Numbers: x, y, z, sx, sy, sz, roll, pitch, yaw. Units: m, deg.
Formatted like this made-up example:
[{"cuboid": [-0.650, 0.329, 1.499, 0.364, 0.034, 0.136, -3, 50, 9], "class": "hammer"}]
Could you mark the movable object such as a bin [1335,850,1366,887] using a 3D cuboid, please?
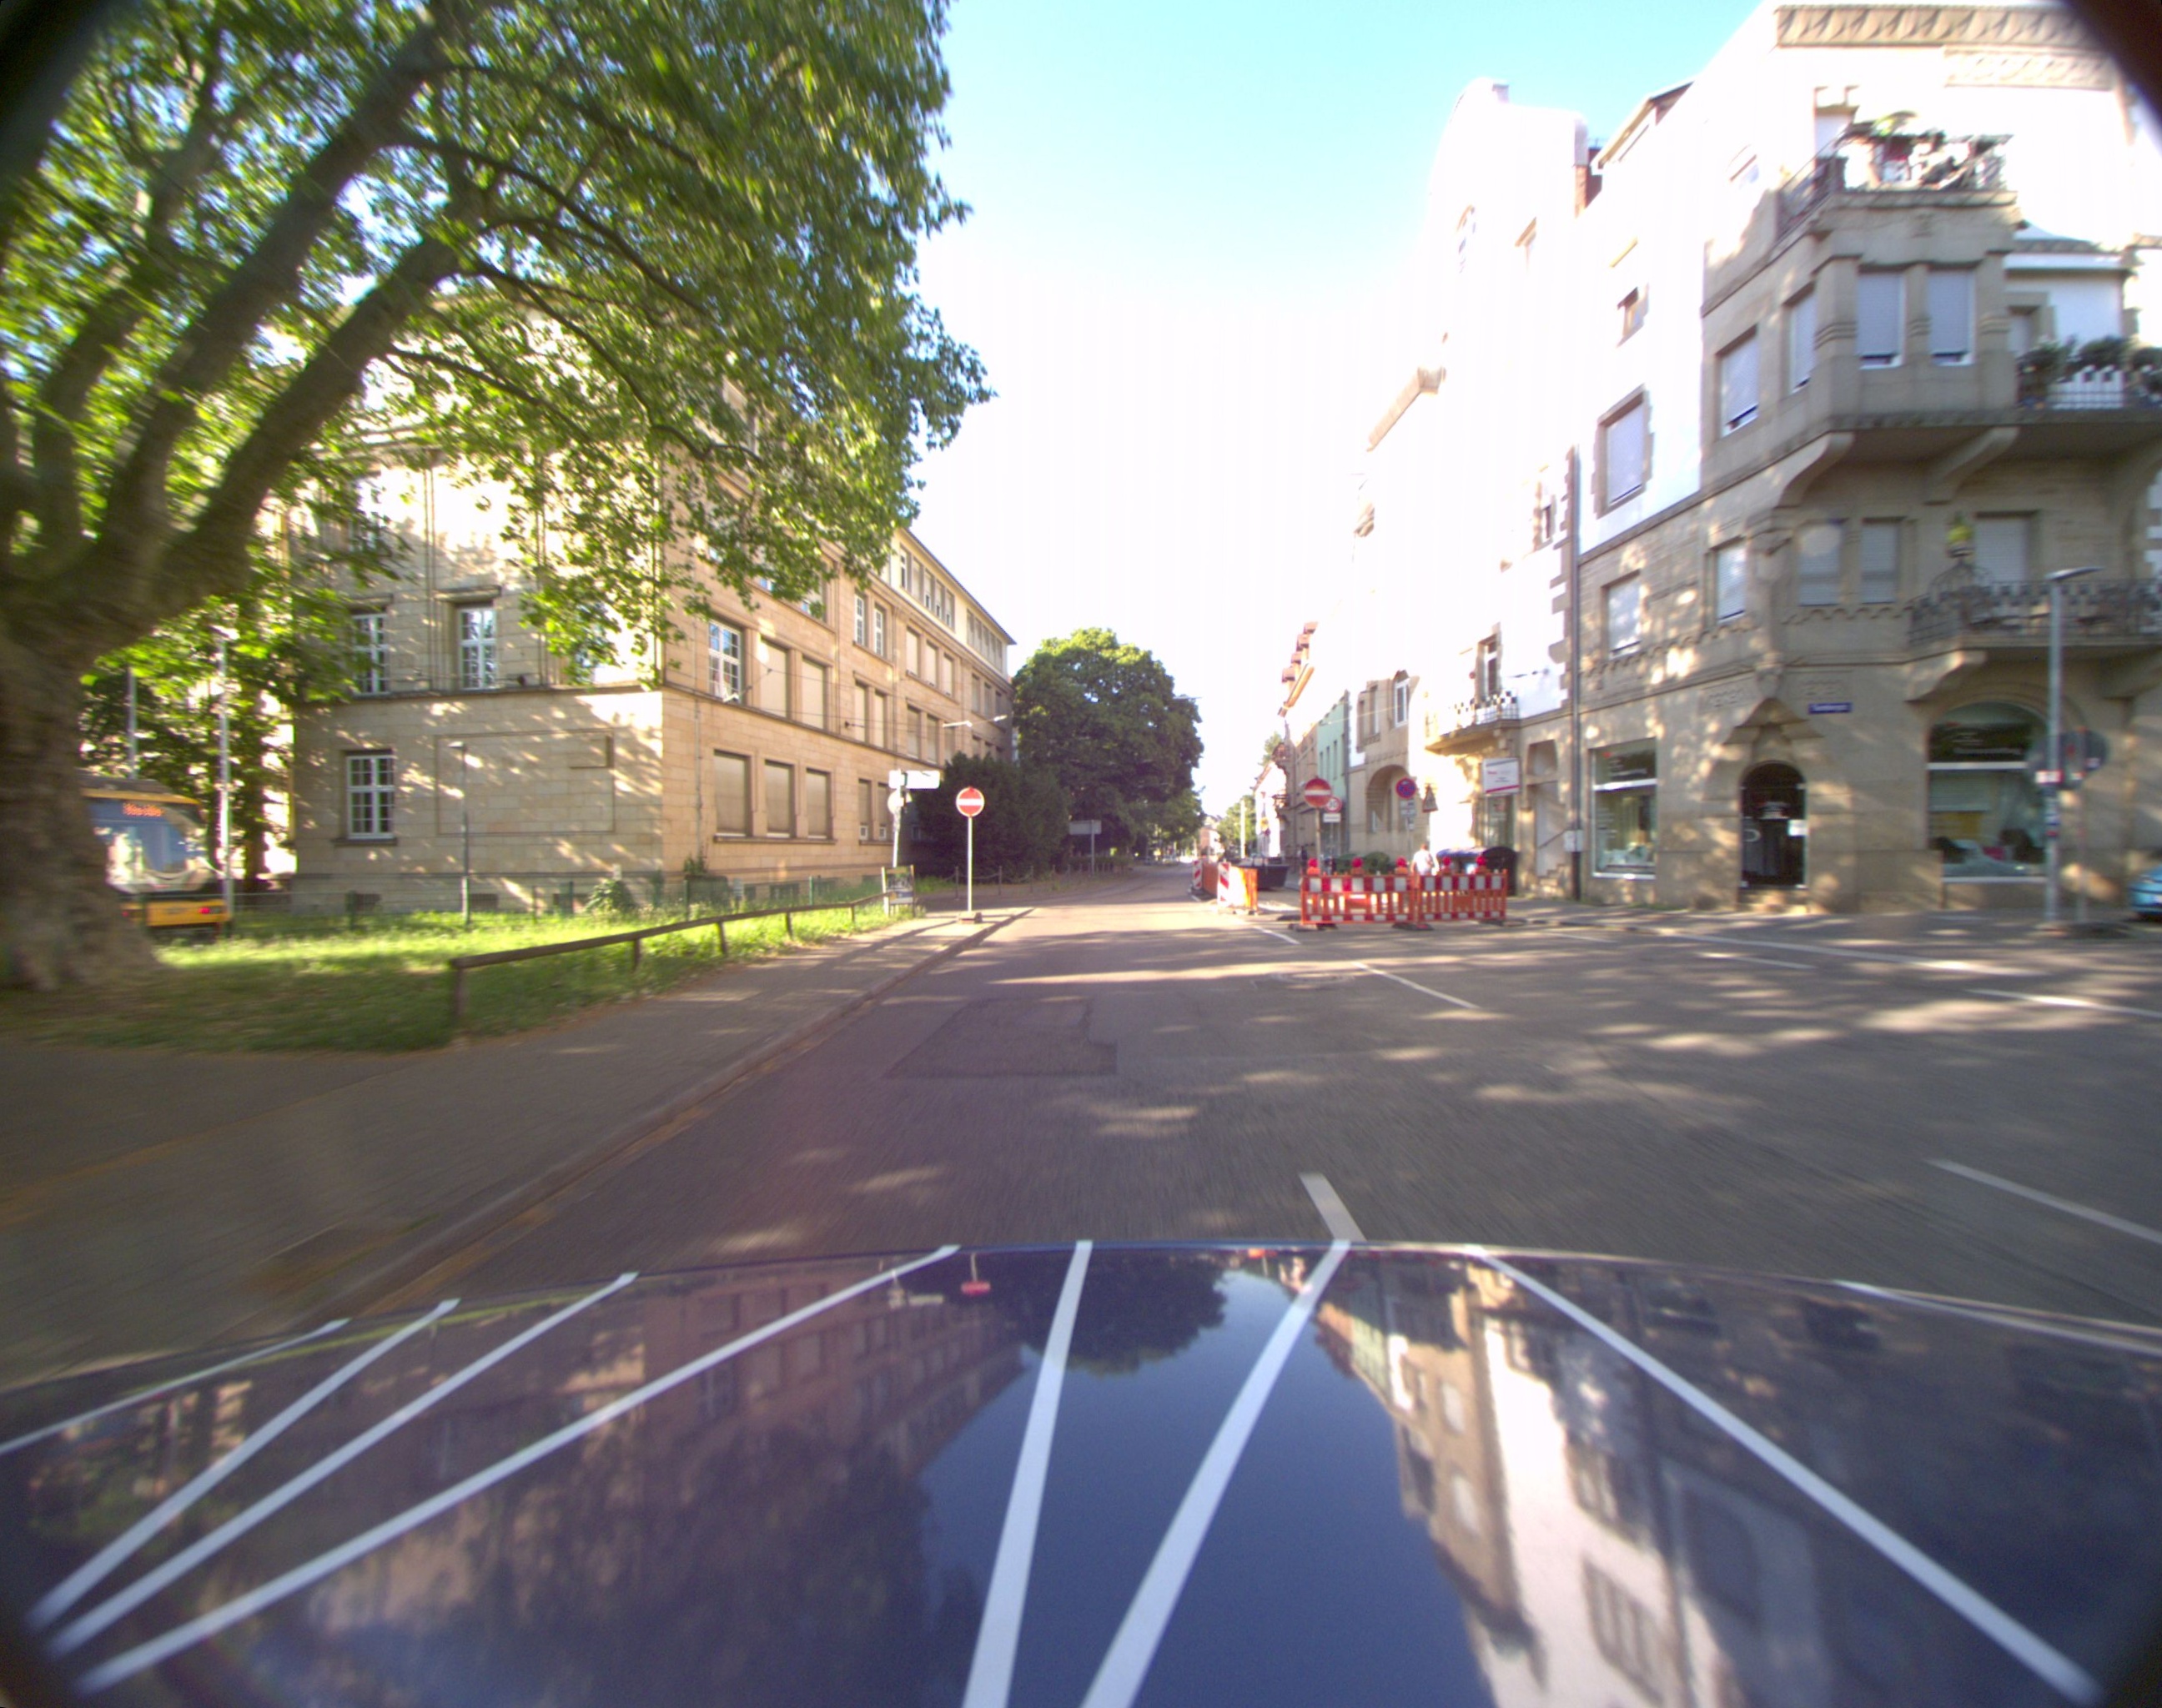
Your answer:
[{"cuboid": [10.902, 0.563, 30.796, 1.084, 1.423, 1.409, -2, 1, 16], "class": "movable object such as a bin"}]

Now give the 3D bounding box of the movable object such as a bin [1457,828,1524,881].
[{"cuboid": [11.675, 0.005, 21.693, 1.085, 1.423, 1.345, -3, 1, -5], "class": "movable object such as a bin"}]

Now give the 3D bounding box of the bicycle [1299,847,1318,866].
[{"cuboid": [11.635, 0.134, 38.941, 0.601, 0.927, 1.474, -3, 1, 5], "class": "bicycle"}]

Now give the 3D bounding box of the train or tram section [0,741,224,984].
[{"cuboid": [-19.776, 0.288, 13.070, 9.250, 3.499, 2.801, -2, 1, 16], "class": "train or tram section"}]

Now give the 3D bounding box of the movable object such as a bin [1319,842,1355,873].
[{"cuboid": [10.929, 0.151, 32.461, 1.085, 1.256, 1.335, -3, 1, 2], "class": "movable object such as a bin"}]

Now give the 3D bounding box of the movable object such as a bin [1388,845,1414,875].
[{"cuboid": [11.222, 0.204, 26.644, 0.638, 1.018, 0.556, -3, 1, 0], "class": "movable object such as a bin"}]

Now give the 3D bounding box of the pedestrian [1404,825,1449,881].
[{"cuboid": [10.300, -0.033, 22.665, 0.823, 1.594, 0.916, -3, 1, -8], "class": "pedestrian"}]

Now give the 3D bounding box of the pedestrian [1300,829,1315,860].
[{"cuboid": [11.613, -0.499, 38.992, 0.599, 1.547, 0.616, -2, 1, 5], "class": "pedestrian"}]

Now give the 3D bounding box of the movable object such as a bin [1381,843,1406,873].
[{"cuboid": [11.195, 0.155, 27.235, 0.638, 1.035, 0.588, -3, 1, 0], "class": "movable object such as a bin"}]

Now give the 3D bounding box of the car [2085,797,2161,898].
[{"cuboid": [18.424, -0.132, 11.423, 3.997, 1.543, 2.000, -1, 1, 0], "class": "car"}]

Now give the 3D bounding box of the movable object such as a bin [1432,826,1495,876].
[{"cuboid": [11.618, -0.095, 23.133, 1.085, 1.423, 1.406, -3, 1, -5], "class": "movable object such as a bin"}]

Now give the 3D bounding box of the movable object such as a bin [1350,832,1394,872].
[{"cuboid": [11.019, -0.070, 28.786, 1.085, 1.423, 1.407, -3, 1, 0], "class": "movable object such as a bin"}]

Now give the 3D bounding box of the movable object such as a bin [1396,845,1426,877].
[{"cuboid": [11.263, 0.229, 25.947, 0.638, 1.035, 0.764, -3, 1, 0], "class": "movable object such as a bin"}]
